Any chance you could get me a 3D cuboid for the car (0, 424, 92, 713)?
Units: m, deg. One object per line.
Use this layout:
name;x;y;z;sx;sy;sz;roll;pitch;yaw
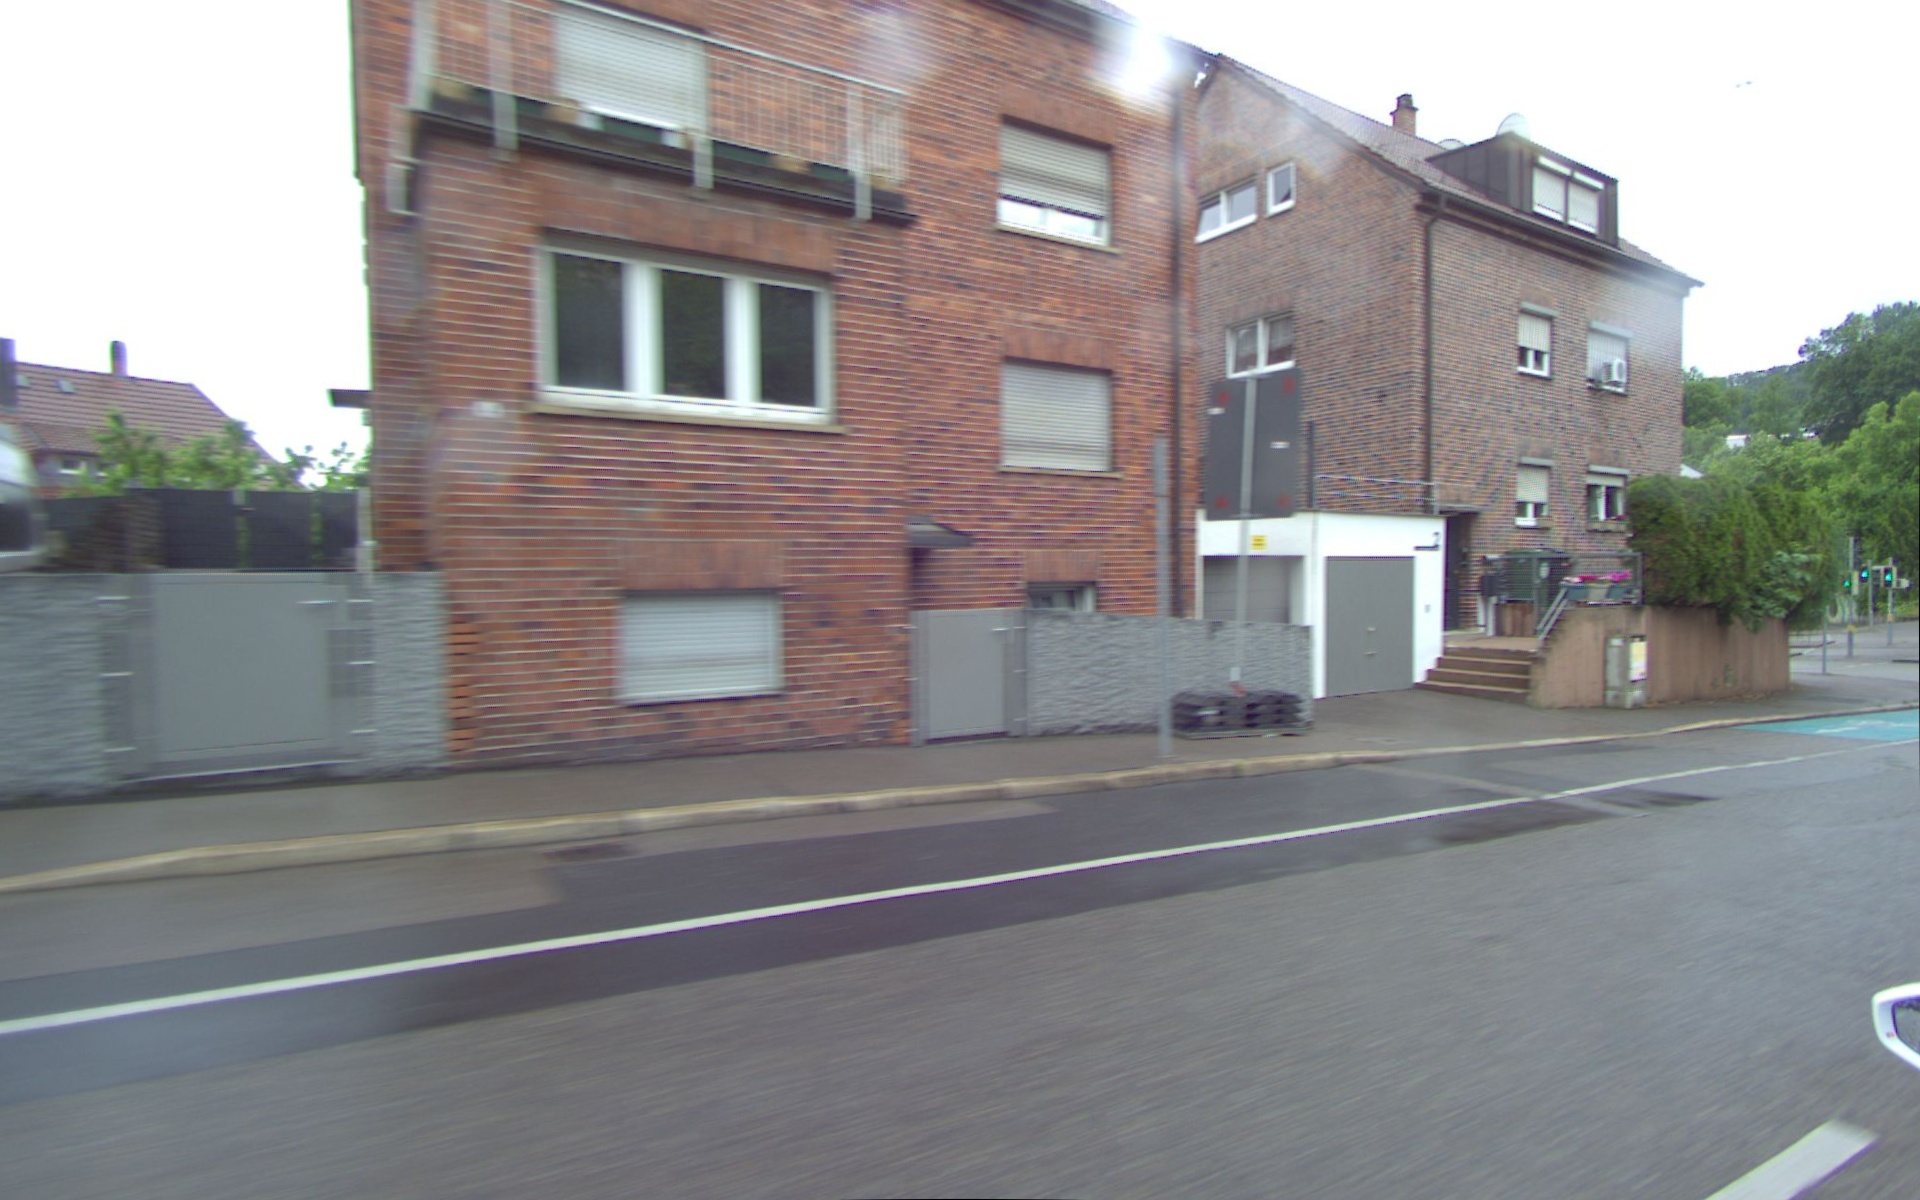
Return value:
car;-9.313;-0.300;8.104;2.142;2.587;6.622;3;0;-30
